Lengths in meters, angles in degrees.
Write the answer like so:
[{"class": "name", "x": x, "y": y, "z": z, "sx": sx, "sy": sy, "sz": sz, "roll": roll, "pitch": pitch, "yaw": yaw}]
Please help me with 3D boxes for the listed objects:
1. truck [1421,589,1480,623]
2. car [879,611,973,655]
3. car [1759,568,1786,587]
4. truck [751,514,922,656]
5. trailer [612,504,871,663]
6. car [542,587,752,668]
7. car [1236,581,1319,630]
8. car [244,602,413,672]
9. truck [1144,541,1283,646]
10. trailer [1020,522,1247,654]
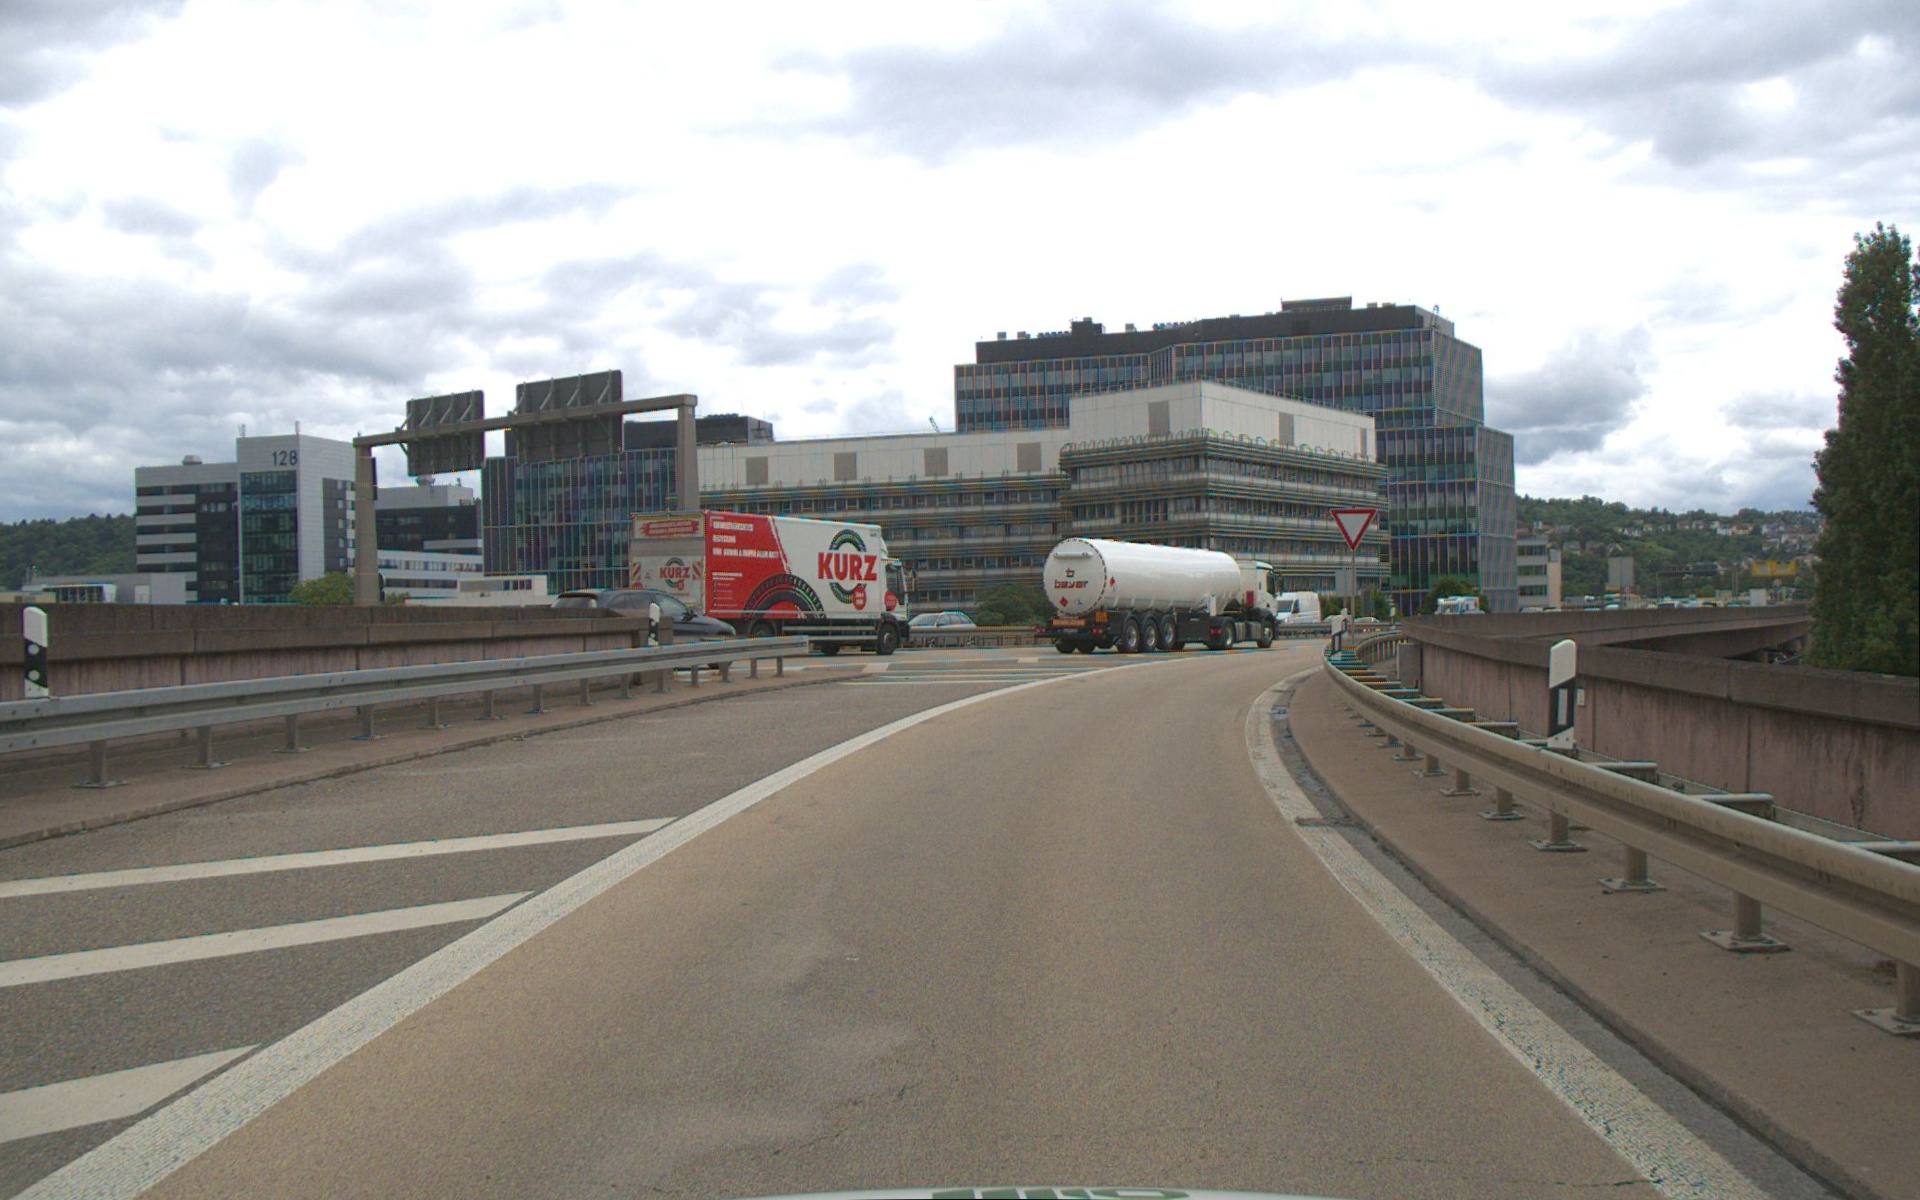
[{"class": "truck", "x": 40.264, "y": 0.506, "z": 135.572, "sx": 2.447, "sy": 2.672, "sz": 7.324, "roll": -2, "pitch": -1, "yaw": 34}, {"class": "car", "x": -1.231, "y": 1.224, "z": 61.712, "sx": 1.615, "sy": 1.545, "sz": 3.829, "roll": -2, "pitch": -1, "yaw": 33}, {"class": "car", "x": 73.291, "y": -2.004, "z": 149.258, "sx": 1.665, "sy": 1.578, "sz": 3.630, "roll": -2, "pitch": -2, "yaw": 34}, {"class": "truck", "x": -3.398, "y": -0.392, "z": 46.393, "sx": 2.642, "sy": 3.755, "sz": 4.428, "roll": -2, "pitch": -1, "yaw": 32}, {"class": "trailer", "x": -5.493, "y": -0.388, "z": 42.974, "sx": 2.641, "sy": 3.755, "sz": 7.295, "roll": -2, "pitch": -1, "yaw": 32}, {"class": "car", "x": -6.335, "y": 0.534, "z": 33.918, "sx": 1.813, "sy": 1.531, "sz": 4.254, "roll": 1, "pitch": 0, "yaw": 32}, {"class": "car", "x": 18.018, "y": 0.307, "z": 93.581, "sx": 2.532, "sy": 2.690, "sz": 6.174, "roll": -1, "pitch": 0, "yaw": 33}, {"class": "car", "x": -15.607, "y": 0.894, "z": 41.033, "sx": 1.615, "sy": 1.619, "sz": 3.676, "roll": -2, "pitch": -1, "yaw": 33}, {"class": "truck", "x": 9.076, "y": -0.204, "z": 58.726, "sx": 2.719, "sy": 3.490, "sz": 5.950, "roll": -2, "pitch": -1, "yaw": 32}, {"class": "trailer", "x": 5.880, "y": -0.344, "z": 53.500, "sx": 2.741, "sy": 3.803, "sz": 11.128, "roll": -2, "pitch": -1, "yaw": 31}]
